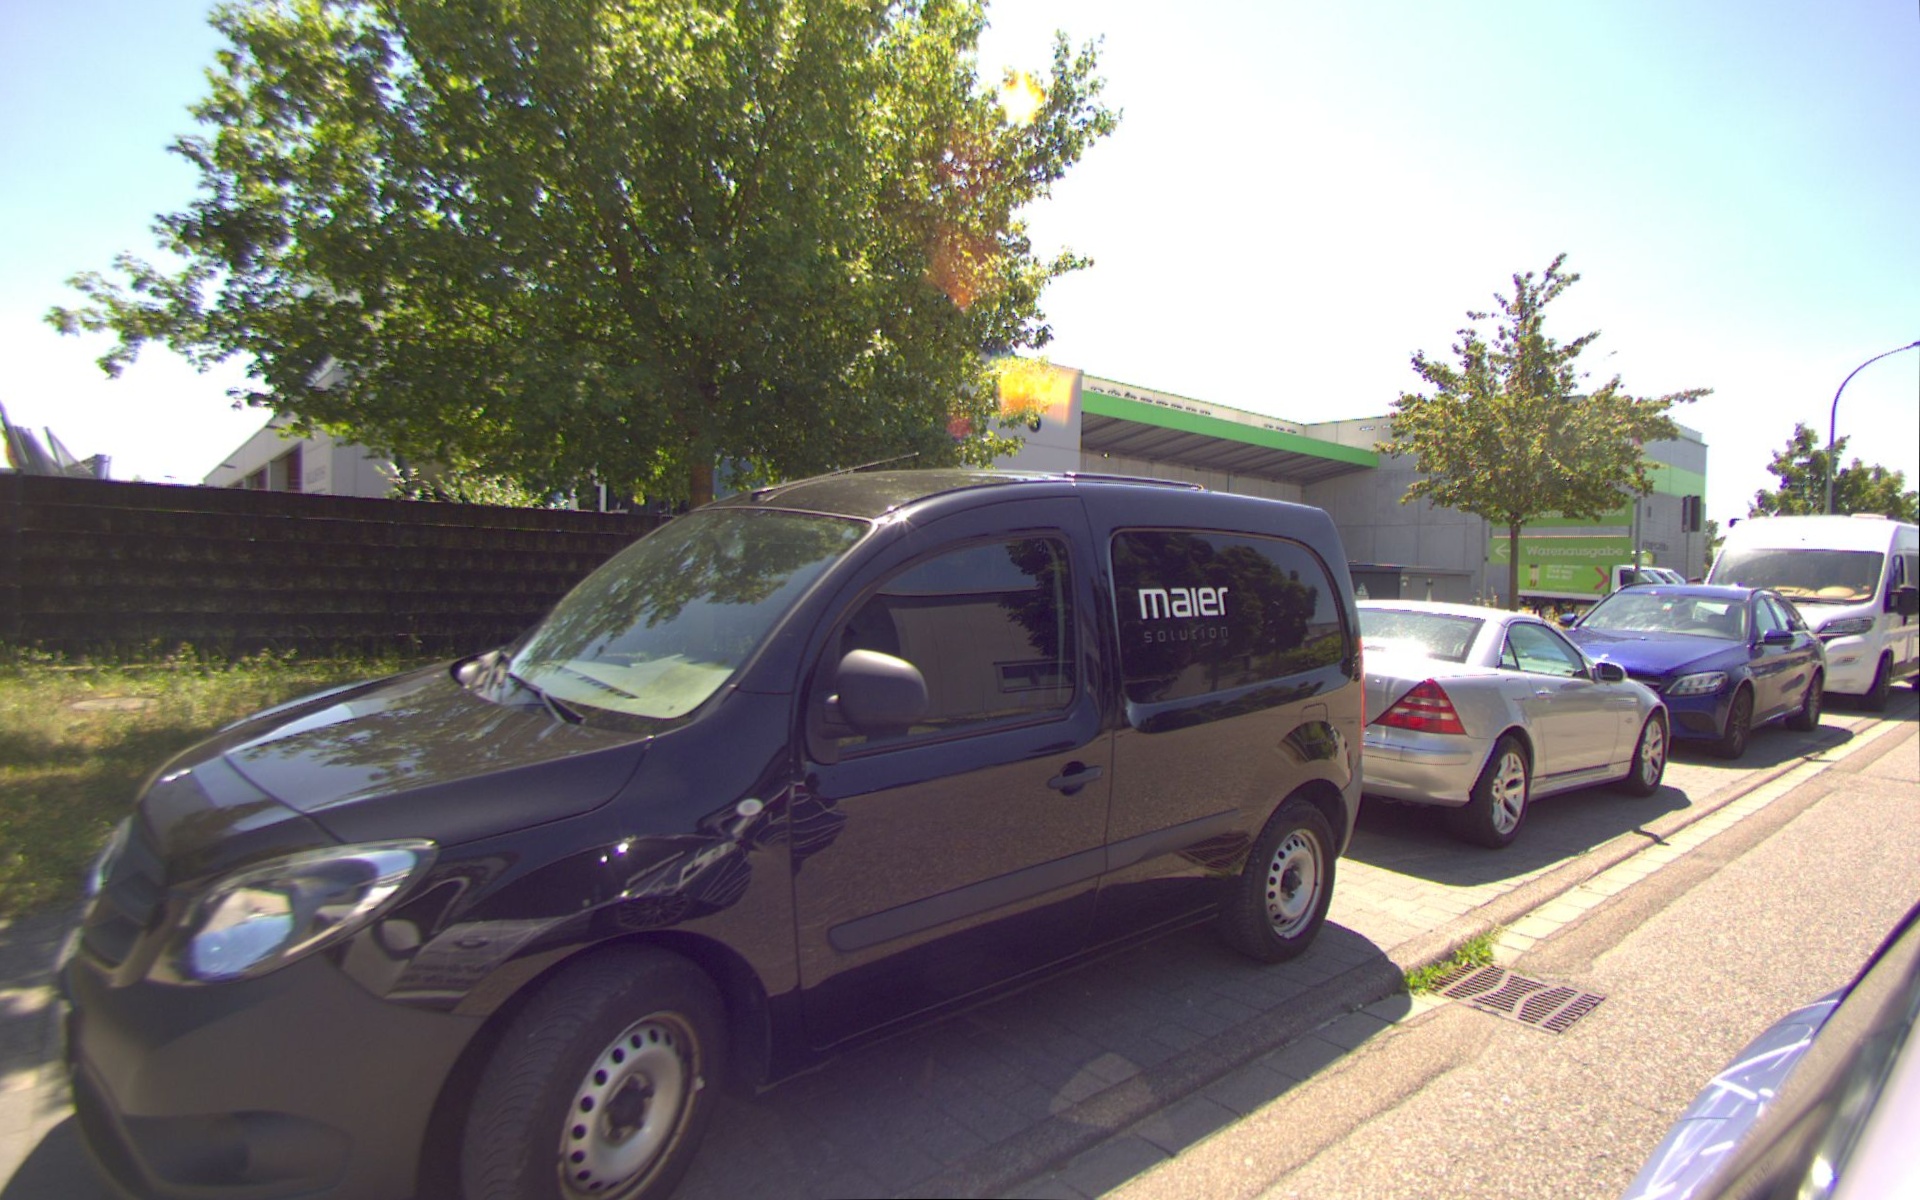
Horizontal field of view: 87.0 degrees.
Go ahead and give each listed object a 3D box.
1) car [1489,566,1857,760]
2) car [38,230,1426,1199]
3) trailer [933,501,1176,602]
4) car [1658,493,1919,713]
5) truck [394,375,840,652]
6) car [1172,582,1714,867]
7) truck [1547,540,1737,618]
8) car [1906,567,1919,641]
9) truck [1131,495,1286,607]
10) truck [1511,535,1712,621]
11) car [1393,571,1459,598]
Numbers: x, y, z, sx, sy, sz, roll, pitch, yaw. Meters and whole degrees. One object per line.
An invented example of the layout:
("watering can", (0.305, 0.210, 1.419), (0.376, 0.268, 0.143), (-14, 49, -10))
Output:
("car", (7.293, 0.480, 10.186), (4.396, 1.512, 1.834), (0, 3, -39))
("car", (-0.327, 0.339, 3.596), (4.278, 1.847, 1.997), (-1, 3, -41))
("trailer", (3.759, -2.154, 45.357), (2.754, 3.922, 12.648), (-1, 3, -39))
("car", (12.353, -0.034, 14.409), (6.040, 2.528, 2.274), (0, 3, -39))
("truck", (-6.743, -1.464, 18.548), (9.967, 3.869, 2.994), (3, 3, 40))
("car", (3.421, 0.572, 6.844), (4.041, 1.303, 1.716), (-1, 3, -39))
("truck", (27.223, -0.916, 40.604), (2.267, 2.907, 5.911), (0, 3, -43))
("car", (27.535, 0.130, 27.535), (5.064, 1.907, 1.998), (0, 3, -40))
("truck", (9.373, -1.838, 38.502), (2.754, 3.923, 5.074), (-1, 3, -39))
("truck", (24.234, -0.885, 37.844), (2.372, 2.949, 5.833), (0, 3, -41))
("car", (29.269, -0.977, 63.627), (1.522, 1.552, 3.397), (0, 3, -38))
